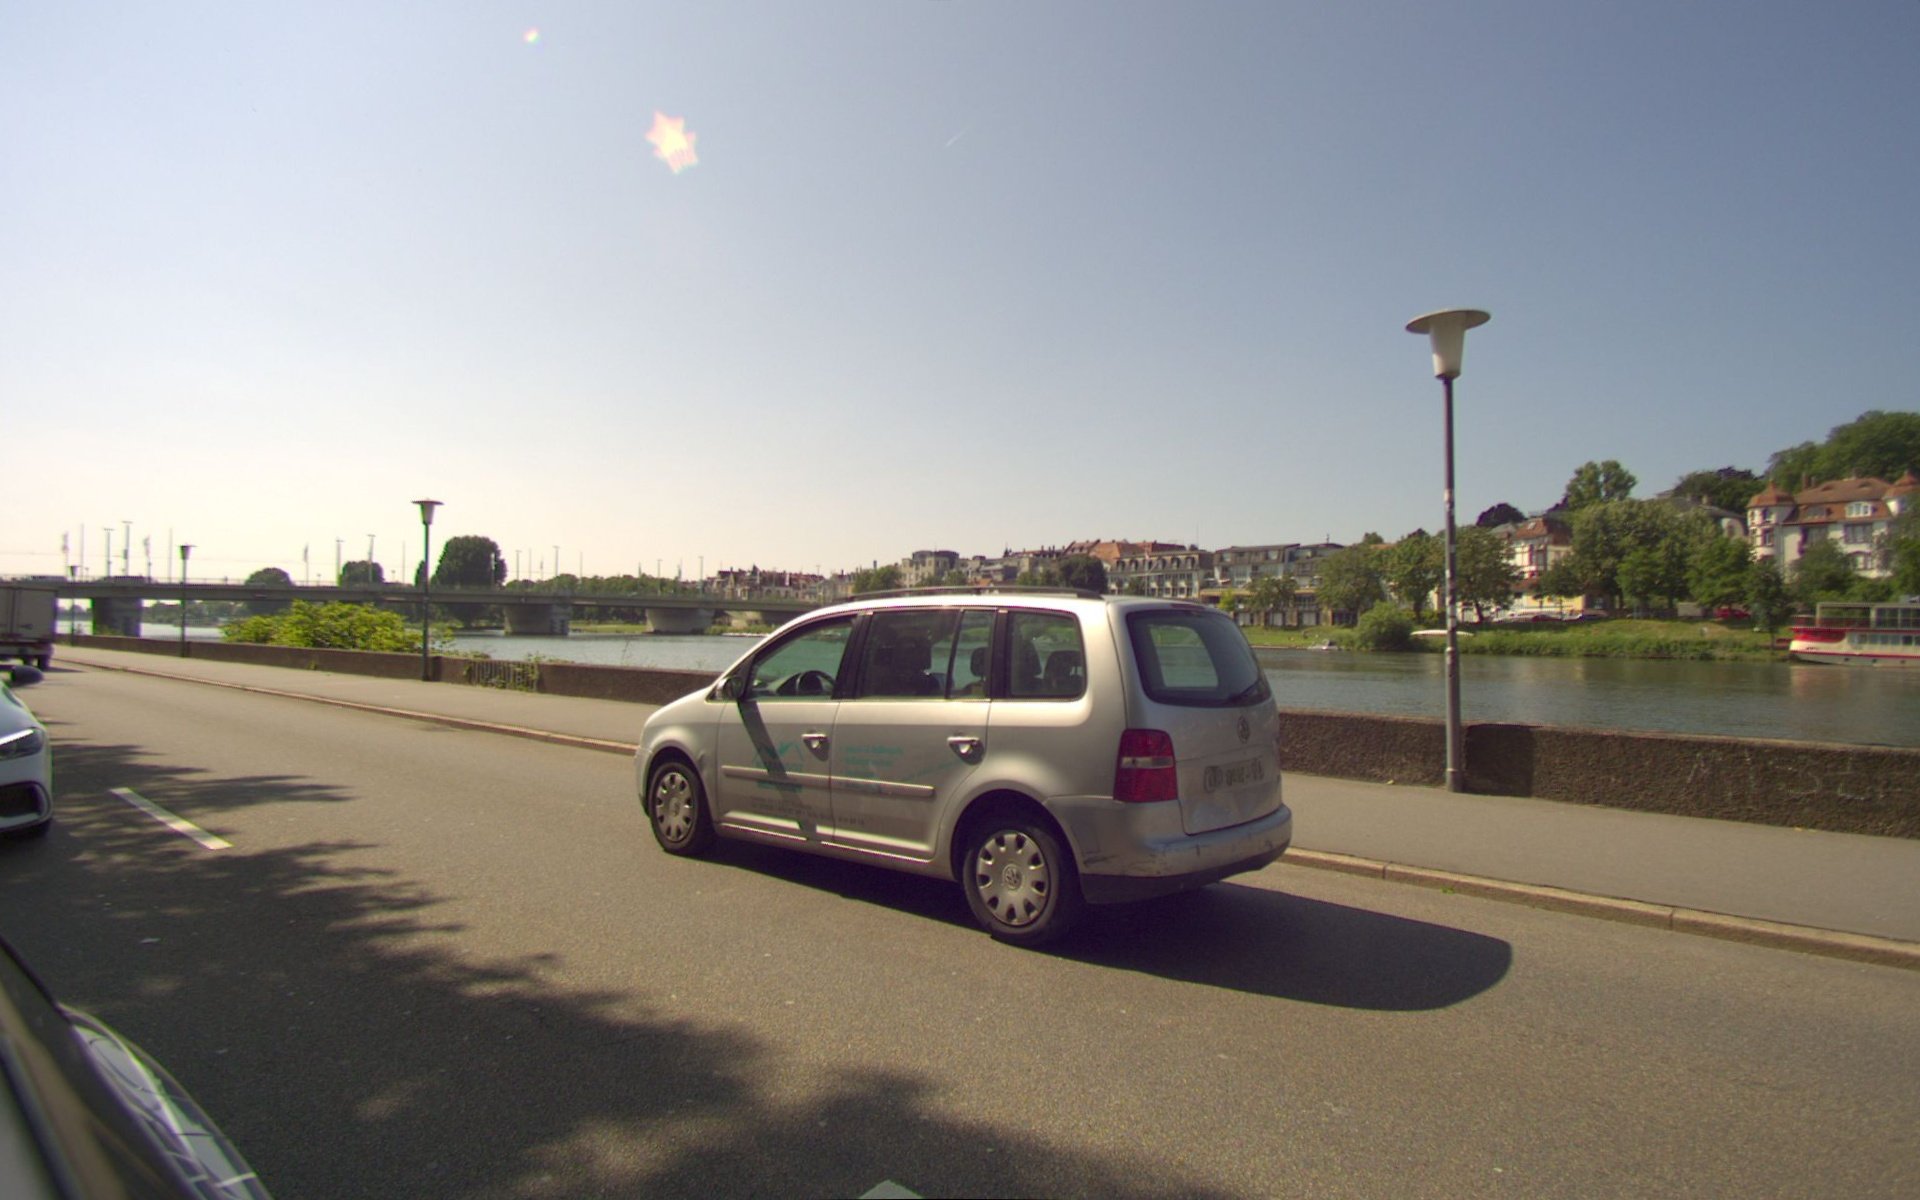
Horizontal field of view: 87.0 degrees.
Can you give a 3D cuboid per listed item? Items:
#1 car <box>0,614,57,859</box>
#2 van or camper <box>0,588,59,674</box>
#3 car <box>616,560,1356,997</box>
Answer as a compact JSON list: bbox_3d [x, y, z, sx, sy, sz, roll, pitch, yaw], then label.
[{"bbox_3d":[-7.745,0.832,6.904,4.550,1.430,1.807,-1,-1,41],"label":"car"},{"bbox_3d":[-28.840,0.905,30.249,5.381,2.417,2.056,-1,-3,40],"label":"van or camper"},{"bbox_3d":[-0.099,0.747,5.900,4.175,1.662,1.713,-1,-3,41],"label":"car"}]
